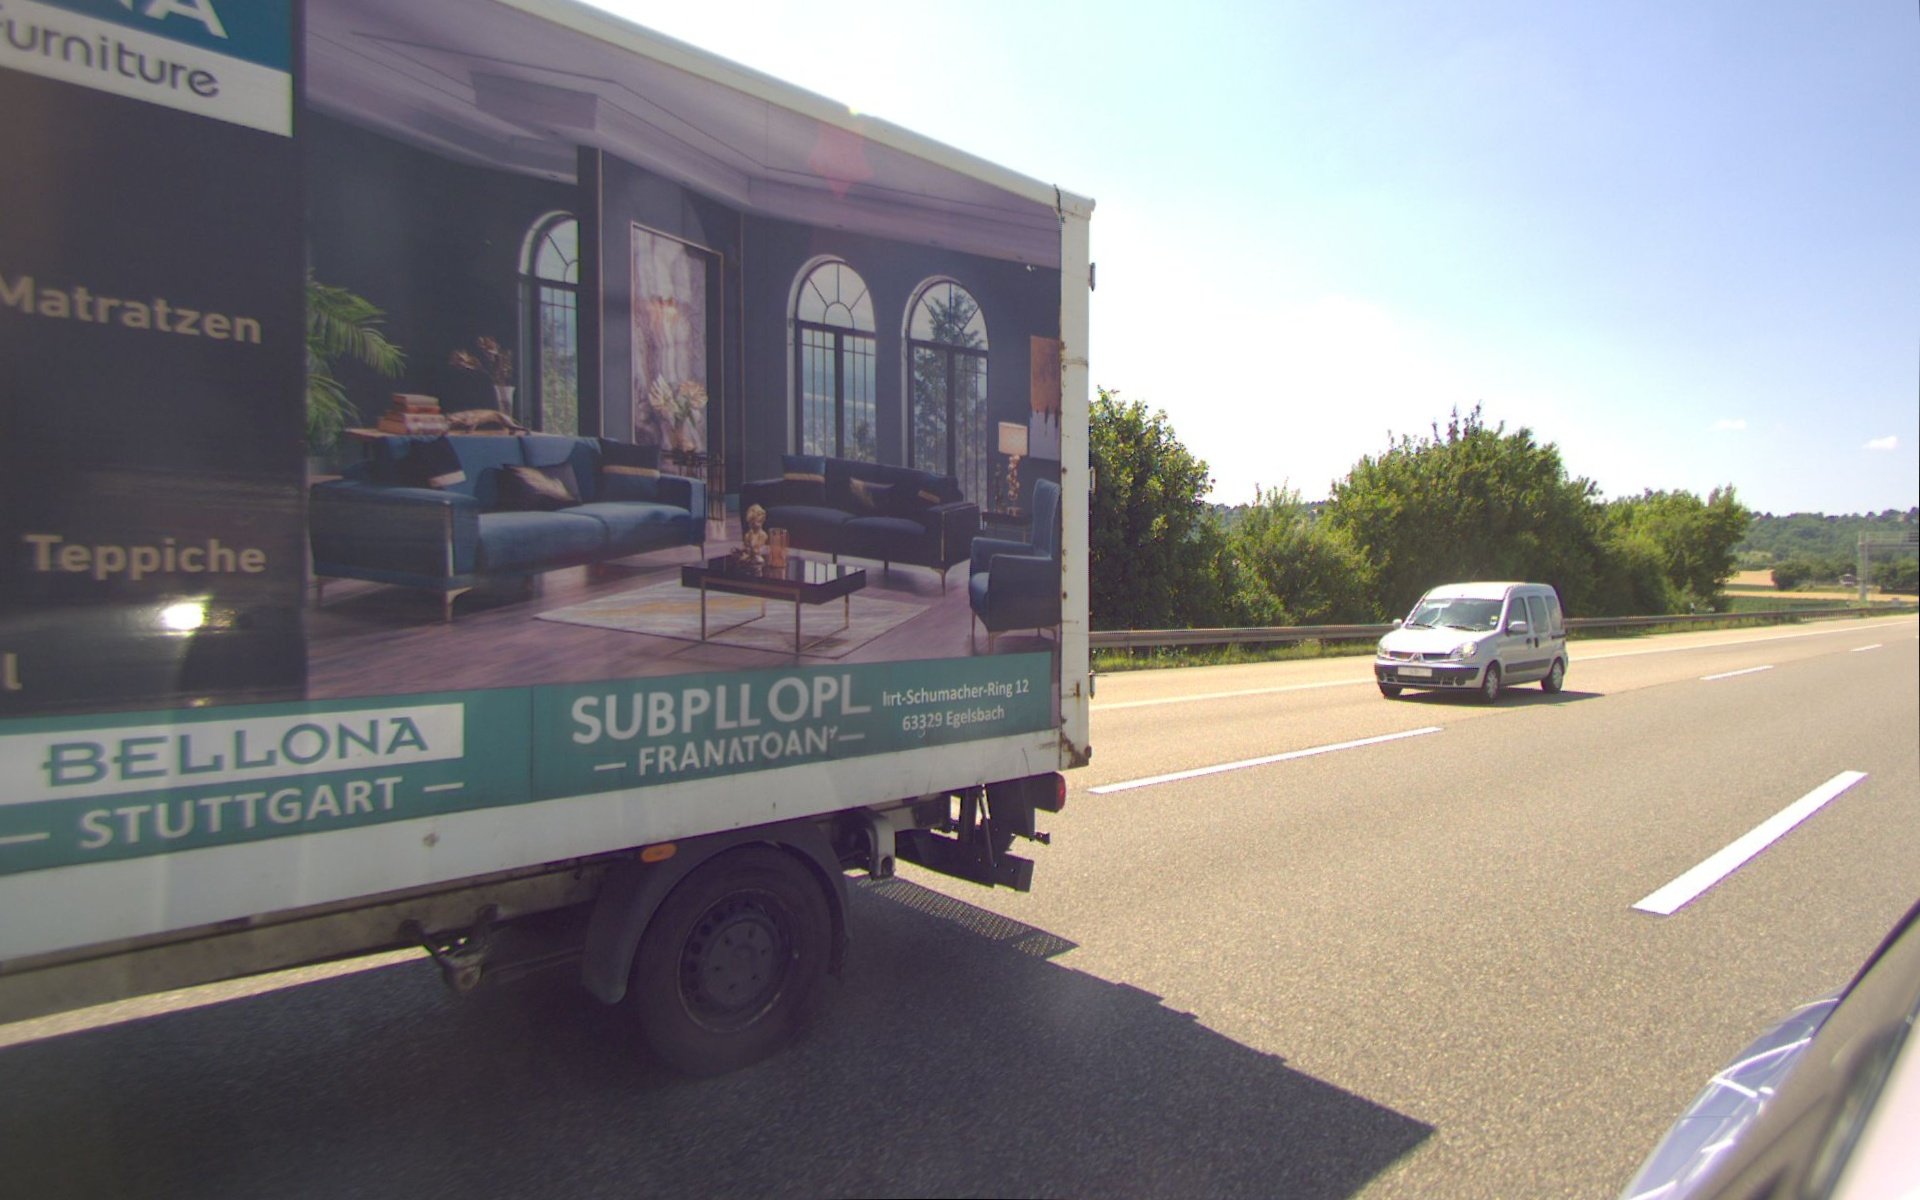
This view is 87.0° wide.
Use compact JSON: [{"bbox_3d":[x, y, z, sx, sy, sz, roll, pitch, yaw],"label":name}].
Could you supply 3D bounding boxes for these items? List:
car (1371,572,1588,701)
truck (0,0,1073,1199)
[{"bbox_3d":[8.106,0.496,15.654,3.902,1.759,1.630,0,0,-40],"label":"car"},{"bbox_3d":[-2.816,-0.136,2.531,6.633,3.106,2.324,0,0,-41],"label":"truck"}]
